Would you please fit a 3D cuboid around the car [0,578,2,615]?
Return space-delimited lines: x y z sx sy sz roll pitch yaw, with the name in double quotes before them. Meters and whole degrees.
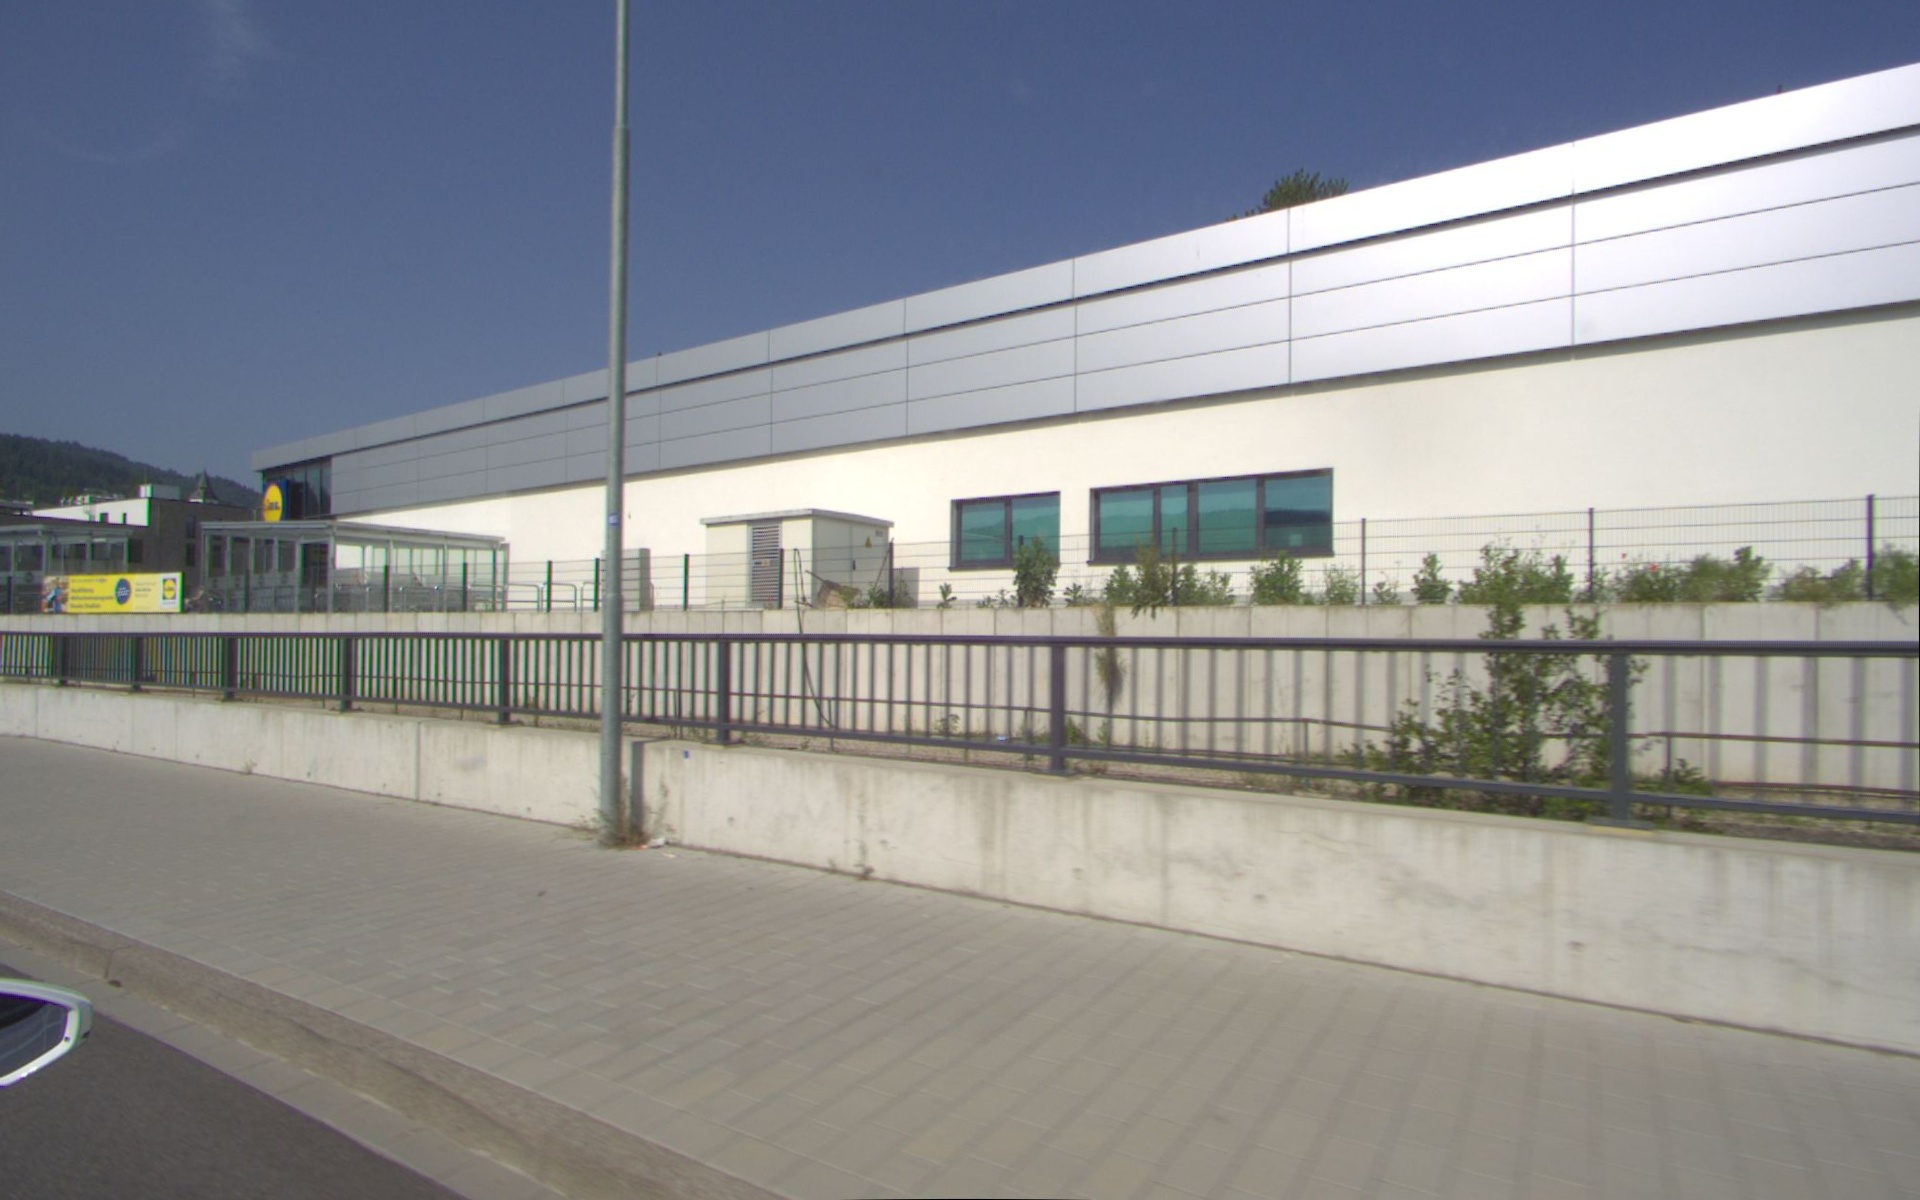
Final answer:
"car" -36.824 -0.206 35.523 1.649 1.381 3.817 1 -2 13
